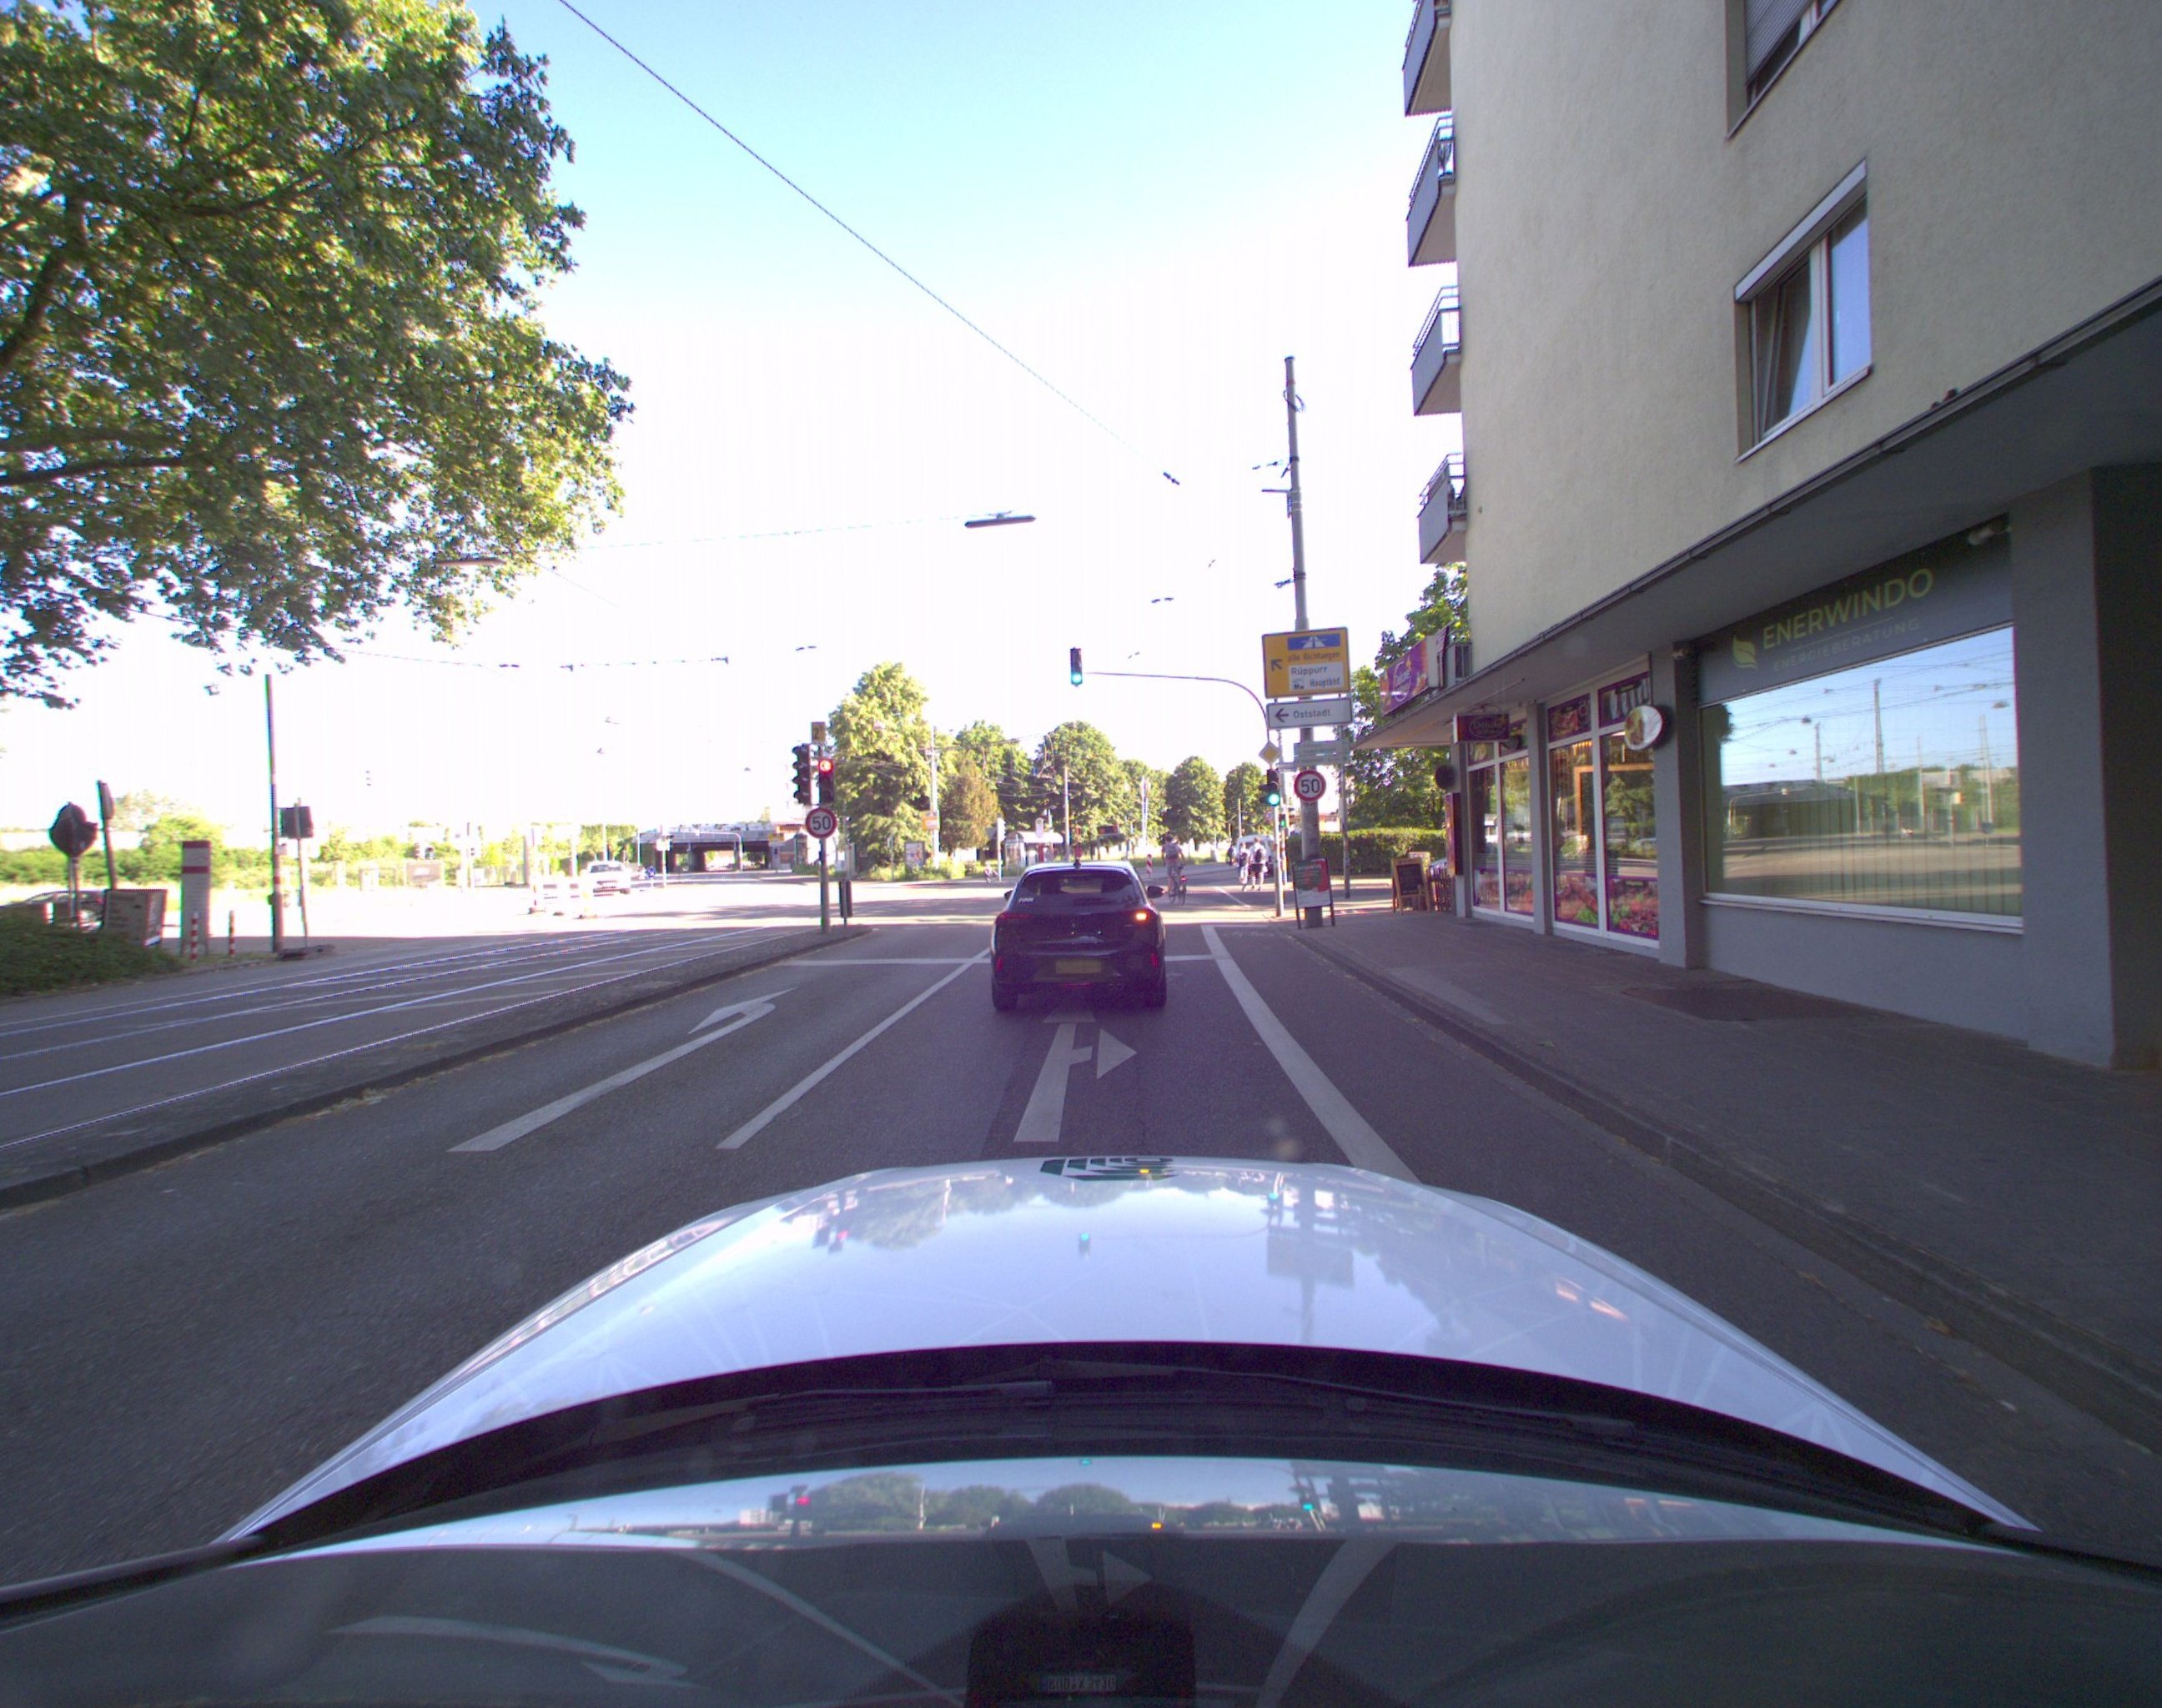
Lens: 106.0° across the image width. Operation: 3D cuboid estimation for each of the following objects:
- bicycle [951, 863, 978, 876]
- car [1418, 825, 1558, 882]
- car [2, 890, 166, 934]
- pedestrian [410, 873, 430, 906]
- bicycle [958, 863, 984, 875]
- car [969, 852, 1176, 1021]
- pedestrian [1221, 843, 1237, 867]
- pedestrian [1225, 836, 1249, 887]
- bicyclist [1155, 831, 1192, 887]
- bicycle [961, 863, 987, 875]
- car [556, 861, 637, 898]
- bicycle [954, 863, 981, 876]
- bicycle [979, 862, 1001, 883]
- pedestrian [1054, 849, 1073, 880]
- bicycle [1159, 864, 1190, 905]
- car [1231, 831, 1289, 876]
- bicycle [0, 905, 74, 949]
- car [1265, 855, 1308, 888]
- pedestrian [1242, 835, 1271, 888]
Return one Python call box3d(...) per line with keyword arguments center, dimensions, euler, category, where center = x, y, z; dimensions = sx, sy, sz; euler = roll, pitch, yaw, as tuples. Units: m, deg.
box3d(center=(-8.798, 1.196, 61.370), dimensions=(1.866, 0.906, 0.661), euler=(-2, 0, 8), category="bicycle")
box3d(center=(14.690, 0.021, 29.645), dimensions=(4.151, 1.814, 1.811), euler=(-2, -3, 9), category="car")
box3d(center=(-43.244, 2.500, 35.465), dimensions=(4.007, 1.419, 1.879), euler=(-1, 6, -25), category="car")
box3d(center=(-32.848, 1.746, 40.475), dimensions=(0.602, 1.596, 0.679), euler=(0, -1, -24), category="pedestrian")
box3d(center=(-8.513, 1.174, 63.222), dimensions=(1.866, 0.906, 0.661), euler=(-2, 0, 8), category="bicycle")
box3d(center=(0.018, 0.735, 9.234), dimensions=(1.793, 1.441, 3.943), euler=(-2, 0, 3), category="car")
box3d(center=(11.658, 0.069, 64.196), dimensions=(0.949, 1.793, 1.001), euler=(-2, 0, 27), category="pedestrian")
box3d(center=(5.621, 0.278, 29.379), dimensions=(0.696, 1.792, 0.617), euler=(-2, 0, 1), category="pedestrian")
box3d(center=(2.598, 0.138, 23.063), dimensions=(0.837, 1.510, 1.368), euler=(-2, 0, -1), category="bicyclist")
box3d(center=(-8.422, 1.166, 64.193), dimensions=(1.866, 0.906, 0.661), euler=(-2, 0, 8), category="bicycle")
box3d(center=(-23.599, 1.235, 39.617), dimensions=(4.571, 1.631, 2.013), euler=(-2, 0, 41), category="car")
box3d(center=(-8.681, 1.159, 62.353), dimensions=(1.866, 0.906, 0.661), euler=(-2, 0, 8), category="bicycle")
box3d(center=(-4.933, 0.996, 44.106), dimensions=(0.821, 1.059, 1.885), euler=(-2, 0, 4), category="bicycle")
box3d(center=(-0.989, 0.602, 45.086), dimensions=(0.704, 1.693, 0.719), euler=(-2, 0, -41), category="pedestrian")
box3d(center=(2.609, 0.840, 22.940), dimensions=(0.665, 1.059, 2.082), euler=(-2, 0, 1), category="bicycle")
box3d(center=(9.582, -0.004, 43.314), dimensions=(2.070, 2.277, 4.331), euler=(-1, -1, 25), category="car")
box3d(center=(-23.547, 1.619, 18.003), dimensions=(1.775, 0.888, 0.357), euler=(-2, 0, -11), category="bicycle")
box3d(center=(12.361, 1.012, 48.904), dimensions=(1.784, 1.763, 3.913), euler=(-2, 0, 24), category="car")
box3d(center=(6.196, 0.276, 28.775), dimensions=(0.696, 1.846, 0.705), euler=(-2, 0, 41), category="pedestrian")
